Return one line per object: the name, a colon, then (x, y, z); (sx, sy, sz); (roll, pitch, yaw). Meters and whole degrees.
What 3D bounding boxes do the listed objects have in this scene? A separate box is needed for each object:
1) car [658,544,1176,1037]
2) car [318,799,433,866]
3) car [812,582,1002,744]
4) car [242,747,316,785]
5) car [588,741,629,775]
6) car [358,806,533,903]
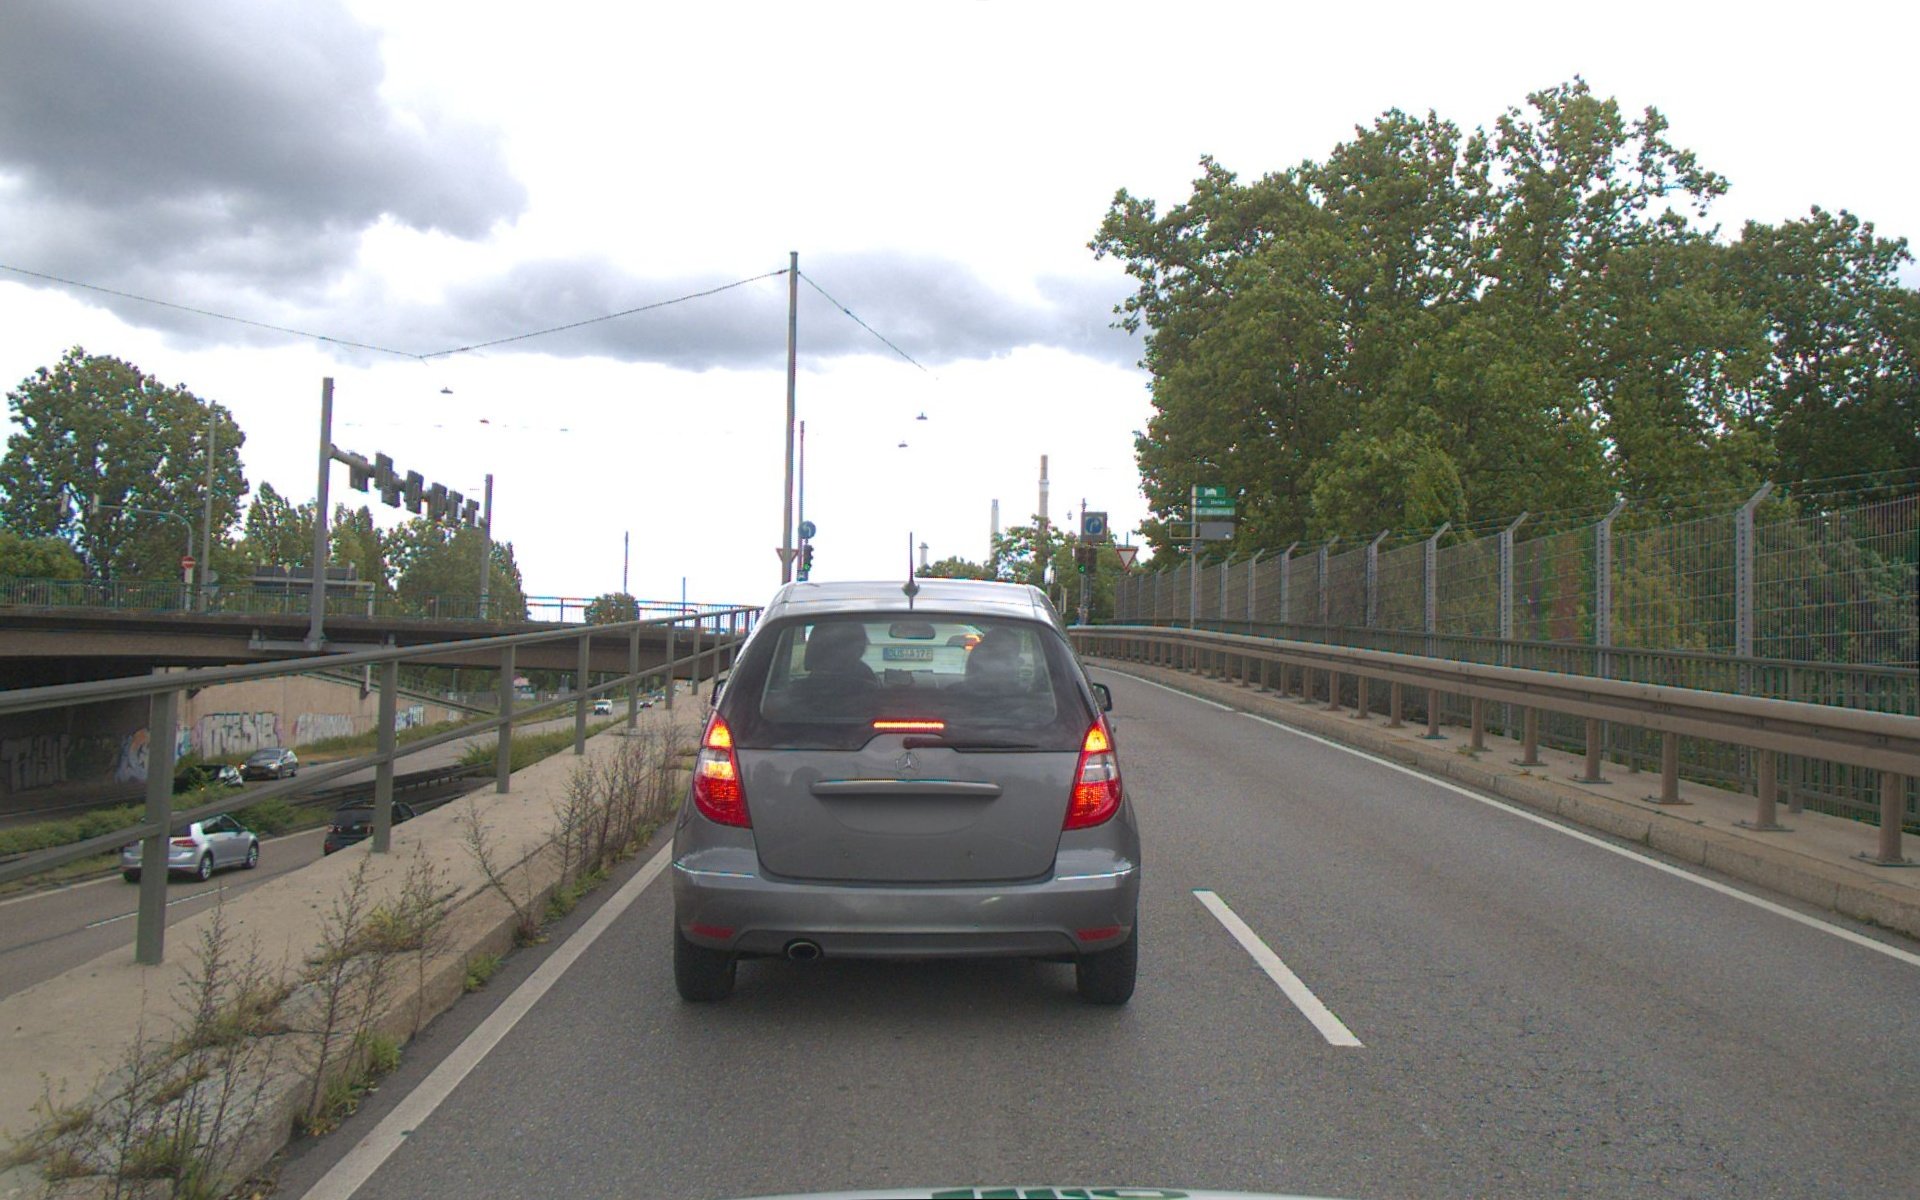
car: (-0.019, 0.668, 7.509); (1.713, 1.608, 4.086); (0, -1, 4)
car: (-14.402, 5.724, 40.951); (1.689, 1.350, 3.644); (1, -4, -4)
car: (-0.579, 0.626, 19.000); (1.953, 1.631, 3.999); (0, 1, -1)
car: (-33.223, 8.084, 80.805); (1.953, 1.691, 3.997); (1, -4, -2)
car: (-20.331, 9.111, 95.690); (1.818, 1.526, 3.996); (0, 1, -5)
car: (-10.748, 5.310, 34.886); (1.894, 1.527, 4.306); (-1, -2, 7)
